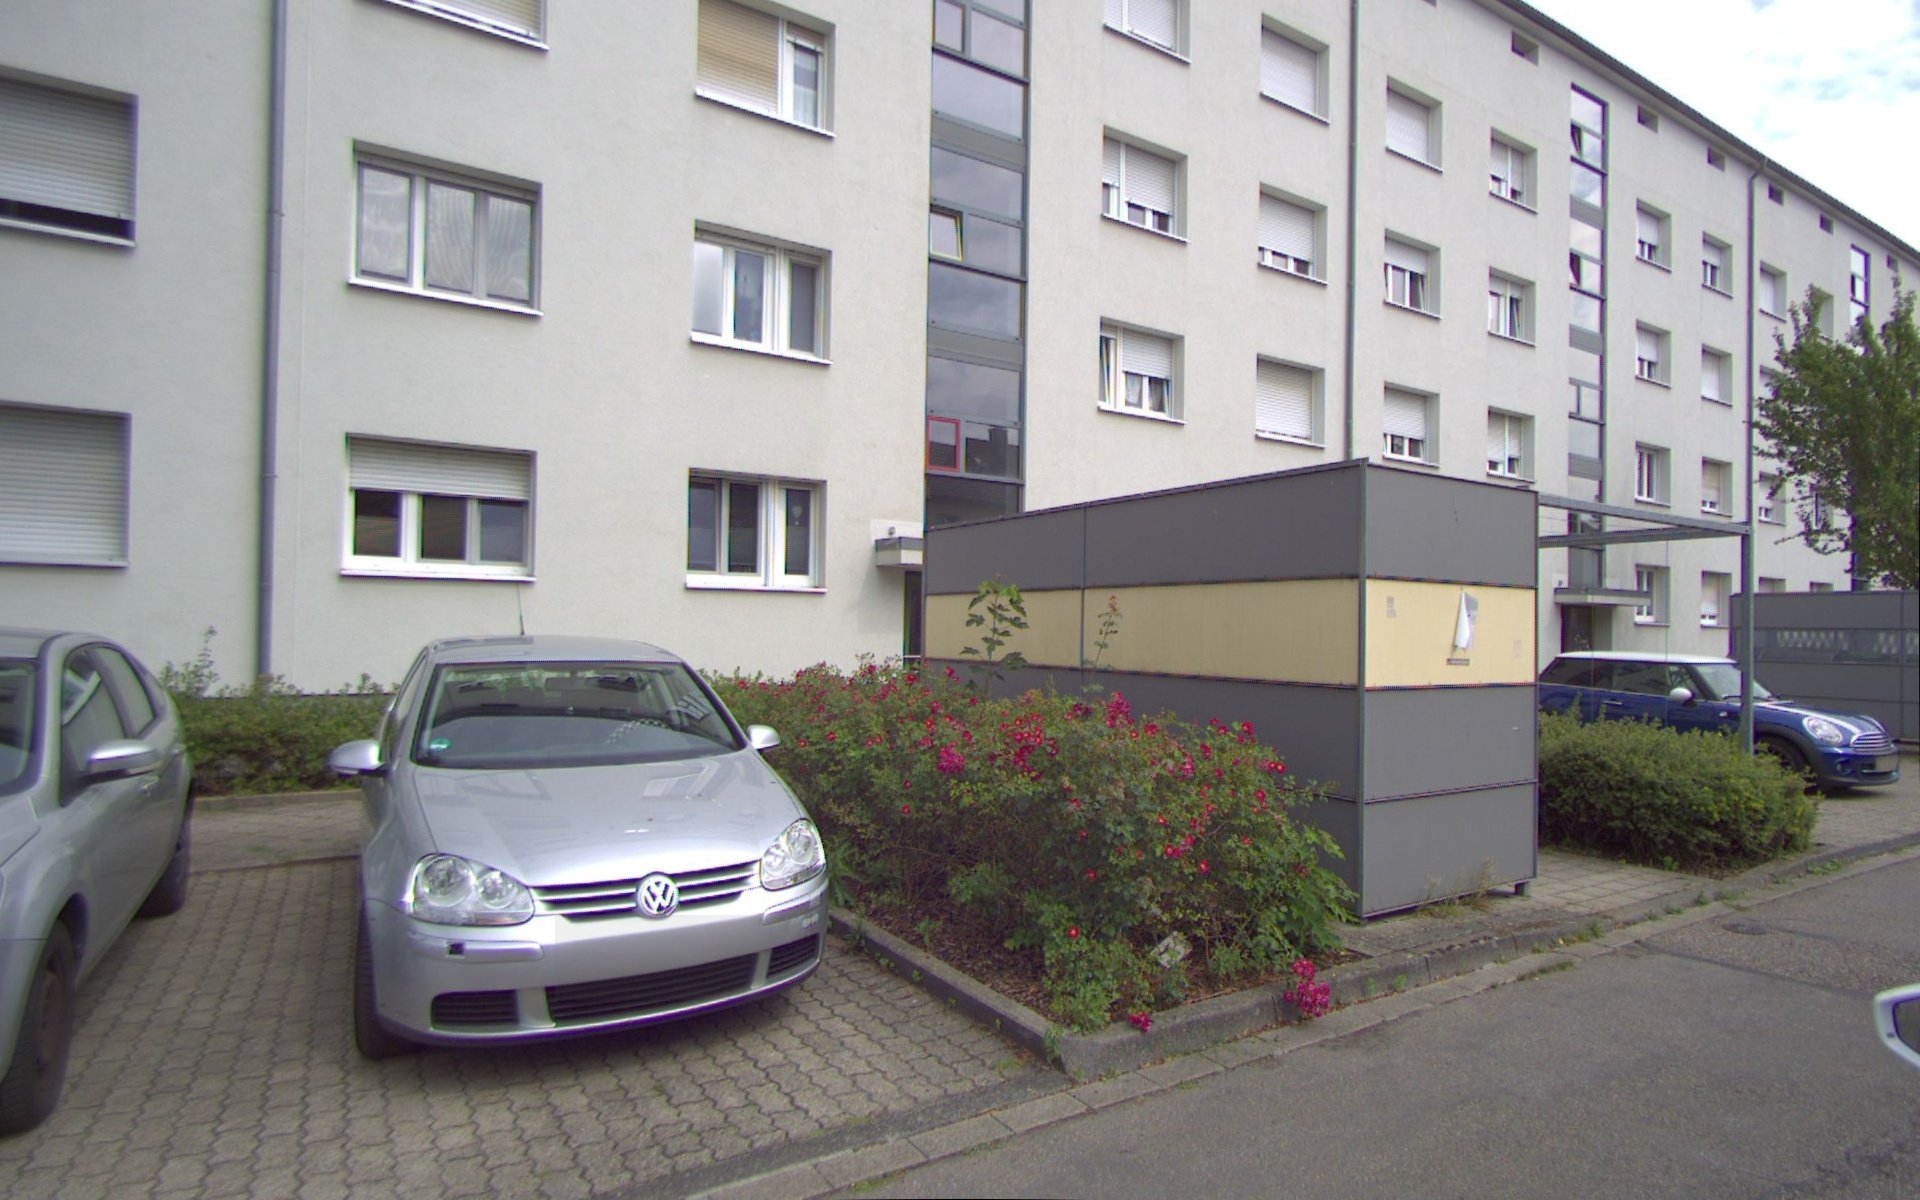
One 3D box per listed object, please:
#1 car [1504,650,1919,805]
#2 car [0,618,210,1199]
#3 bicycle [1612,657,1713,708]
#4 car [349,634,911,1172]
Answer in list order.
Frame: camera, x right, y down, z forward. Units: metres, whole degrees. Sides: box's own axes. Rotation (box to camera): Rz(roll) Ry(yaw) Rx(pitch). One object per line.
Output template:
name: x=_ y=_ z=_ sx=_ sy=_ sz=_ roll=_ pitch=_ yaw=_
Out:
car: x=8.590 y=1.343 z=11.771 sx=1.632 sy=1.480 sz=3.621 roll=2 pitch=-3 yaw=-28
car: x=-4.089 y=0.843 z=3.643 sx=1.762 sy=1.525 sz=4.031 roll=2 pitch=-3 yaw=-31
bicycle: x=15.525 y=1.815 z=22.233 sx=1.775 sy=1.038 sz=0.479 roll=0 pitch=-1 yaw=18
car: x=-1.974 y=0.928 z=4.990 sx=1.762 sy=1.483 sz=4.031 roll=2 pitch=-3 yaw=-31
